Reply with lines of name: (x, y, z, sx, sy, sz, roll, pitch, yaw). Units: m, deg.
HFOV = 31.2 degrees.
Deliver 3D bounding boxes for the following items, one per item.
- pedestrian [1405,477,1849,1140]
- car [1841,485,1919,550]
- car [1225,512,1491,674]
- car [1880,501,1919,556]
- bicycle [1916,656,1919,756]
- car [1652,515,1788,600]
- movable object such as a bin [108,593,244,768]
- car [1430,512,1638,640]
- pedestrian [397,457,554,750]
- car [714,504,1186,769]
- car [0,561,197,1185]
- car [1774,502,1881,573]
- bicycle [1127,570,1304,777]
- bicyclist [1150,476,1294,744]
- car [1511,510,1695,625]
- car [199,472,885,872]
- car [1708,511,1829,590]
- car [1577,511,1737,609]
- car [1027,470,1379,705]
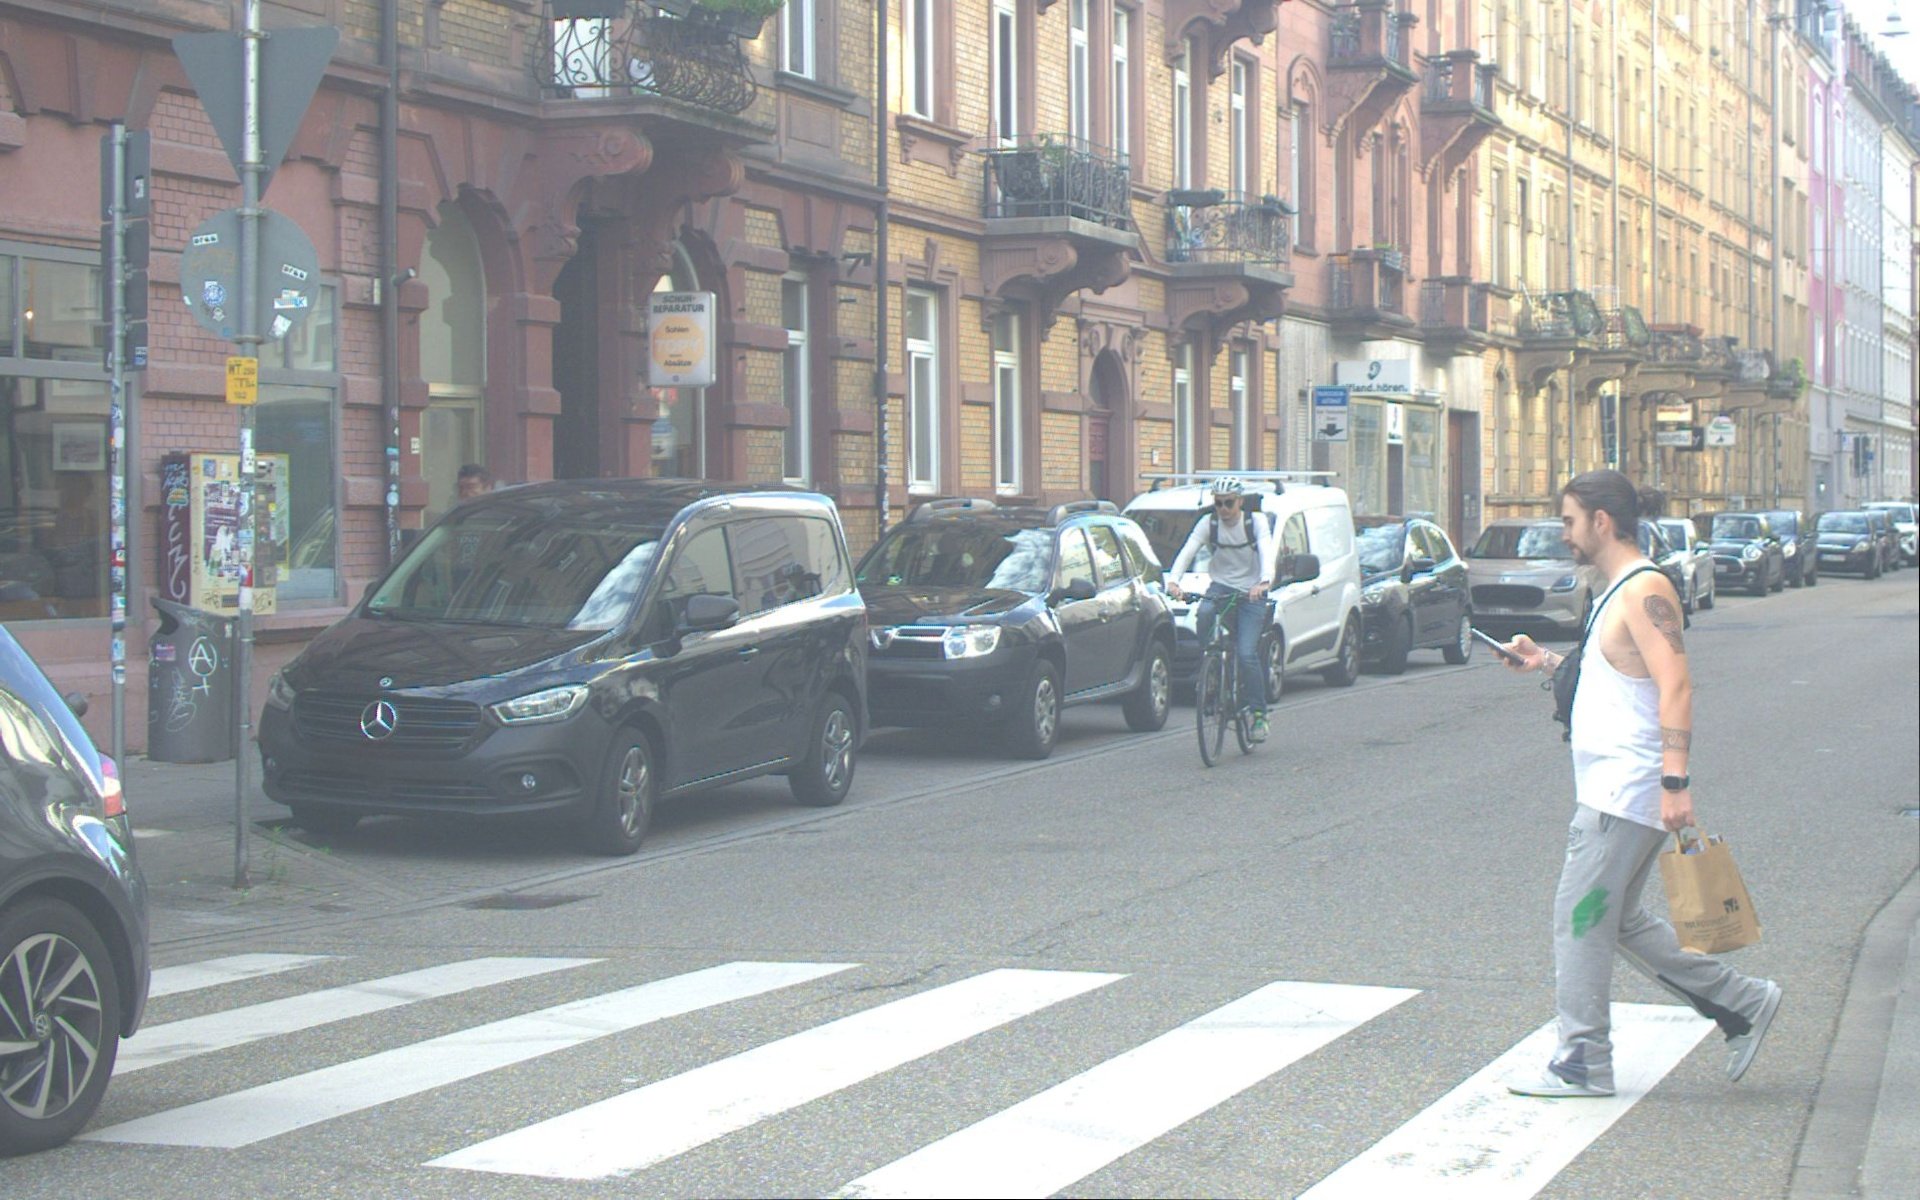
pedestrian: (1.795, 0.515, 9.194, 1.020, 1.665, 0.803, 0, 1, 23)
car: (23.372, -2.103, 87.033, 1.692, 1.544, 3.864, 1, 3, 20)
car: (4.067, -0.113, 34.577, 1.743, 1.478, 3.979, 2, 2, 20)
car: (27.378, -2.047, 98.314, 1.692, 1.544, 3.863, 2, 2, 20)
bicycle: (3.890, 0.686, 10.310, 1.884, 1.121, 0.907, -2, 1, 19)
car: (13.303, -0.759, 60.047, 1.692, 1.382, 3.863, 2, 2, 21)
movable object such as a bin: (-3.344, 0.337, 14.678, 0.383, 0.711, 0.475, 1, 2, 16)
car: (7.240, -0.323, 43.094, 1.743, 1.478, 3.979, 2, 2, 21)
pedestrian: (-3.133, 0.002, 22.294, 0.677, 1.834, 0.857, 3, 3, 15)
car: (0.037, 0.164, 23.811, 1.995, 1.632, 4.142, 1, 2, 19)
car: (-3.503, 0.654, 7.103, 1.793, 1.433, 3.995, -1, 0, 22)
car: (19.034, -1.374, 75.346, 1.692, 1.364, 3.863, 6, 3, 21)
bicycle: (1.657, 0.439, 21.961, 0.701, 1.216, 2.115, 0, 2, 16)
bicyclist: (1.693, 0.047, 22.091, 0.701, 1.672, 1.112, 0, 1, 16)
car: (8.929, -0.473, 47.557, 1.743, 1.478, 3.979, 2, 2, 21)
car: (-2.010, 0.250, 17.976, 1.761, 1.767, 4.402, 2, 3, 19)
car: (15.530, -0.960, 65.914, 1.692, 1.432, 3.863, 2, 2, 21)
car: (10.596, -0.623, 52.106, 1.692, 1.382, 3.863, 2, 2, 21)
car: (2.188, -0.179, 29.694, 1.921, 1.865, 4.433, 1, 2, 20)
